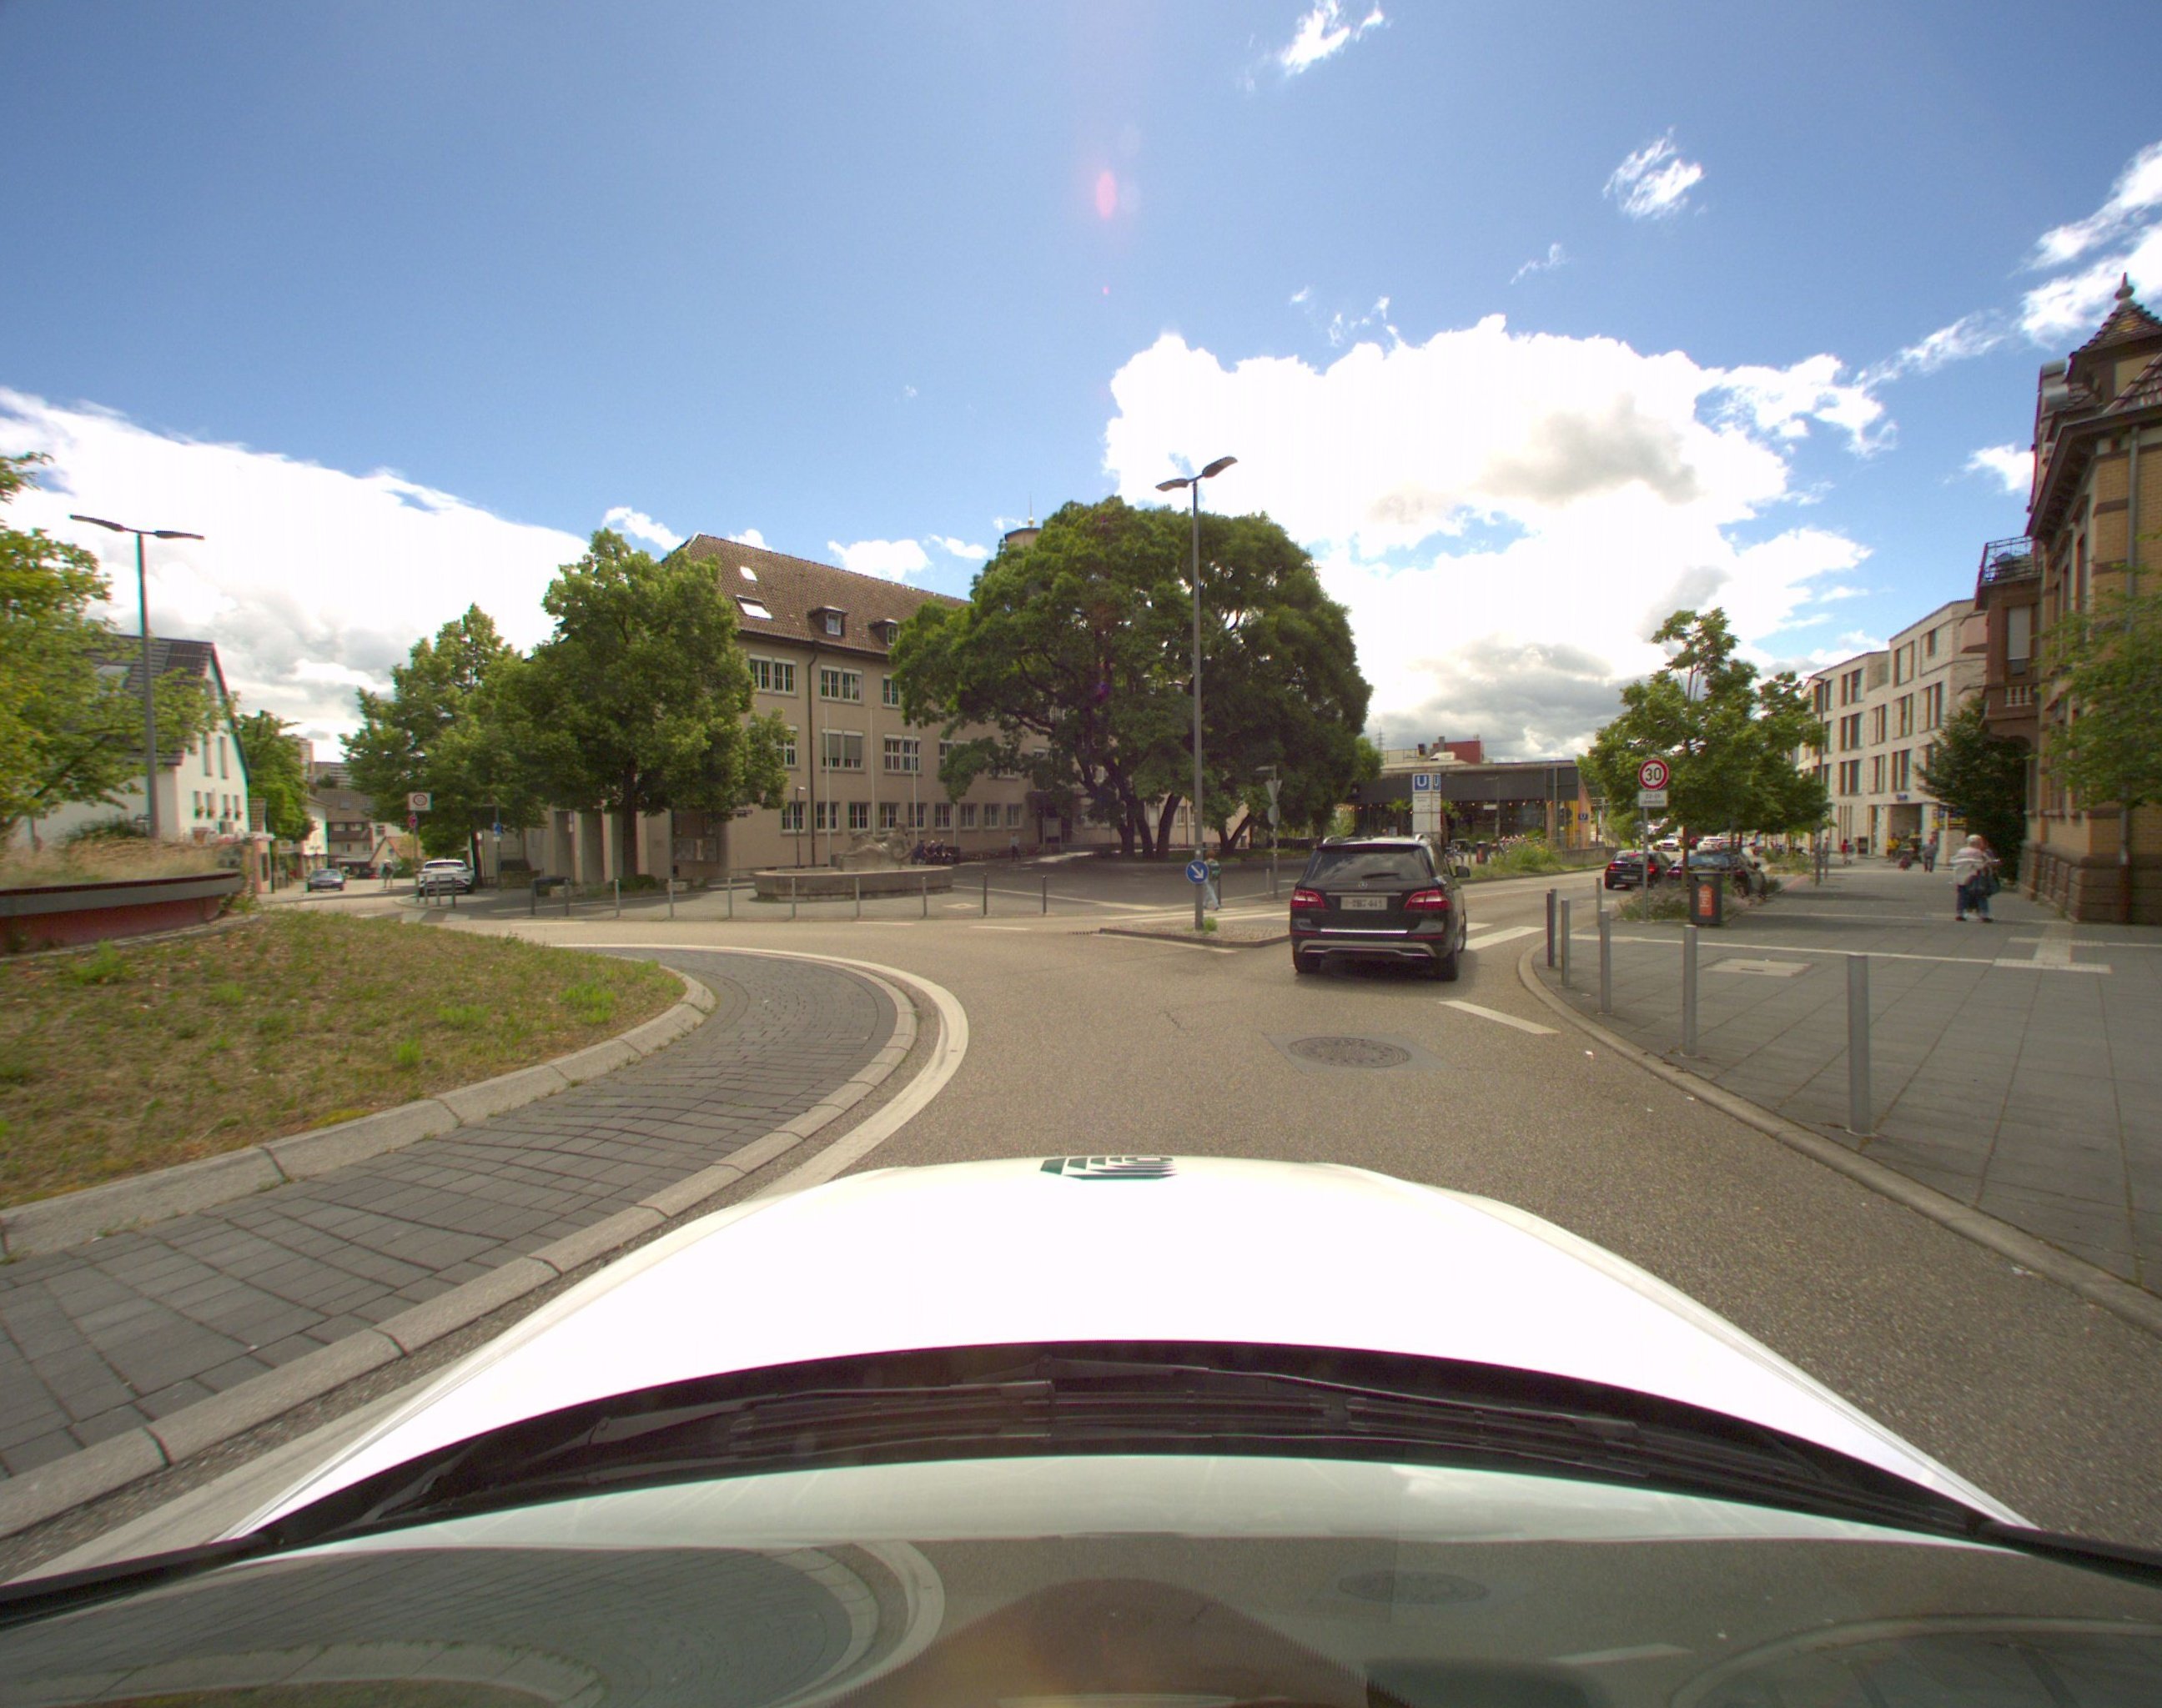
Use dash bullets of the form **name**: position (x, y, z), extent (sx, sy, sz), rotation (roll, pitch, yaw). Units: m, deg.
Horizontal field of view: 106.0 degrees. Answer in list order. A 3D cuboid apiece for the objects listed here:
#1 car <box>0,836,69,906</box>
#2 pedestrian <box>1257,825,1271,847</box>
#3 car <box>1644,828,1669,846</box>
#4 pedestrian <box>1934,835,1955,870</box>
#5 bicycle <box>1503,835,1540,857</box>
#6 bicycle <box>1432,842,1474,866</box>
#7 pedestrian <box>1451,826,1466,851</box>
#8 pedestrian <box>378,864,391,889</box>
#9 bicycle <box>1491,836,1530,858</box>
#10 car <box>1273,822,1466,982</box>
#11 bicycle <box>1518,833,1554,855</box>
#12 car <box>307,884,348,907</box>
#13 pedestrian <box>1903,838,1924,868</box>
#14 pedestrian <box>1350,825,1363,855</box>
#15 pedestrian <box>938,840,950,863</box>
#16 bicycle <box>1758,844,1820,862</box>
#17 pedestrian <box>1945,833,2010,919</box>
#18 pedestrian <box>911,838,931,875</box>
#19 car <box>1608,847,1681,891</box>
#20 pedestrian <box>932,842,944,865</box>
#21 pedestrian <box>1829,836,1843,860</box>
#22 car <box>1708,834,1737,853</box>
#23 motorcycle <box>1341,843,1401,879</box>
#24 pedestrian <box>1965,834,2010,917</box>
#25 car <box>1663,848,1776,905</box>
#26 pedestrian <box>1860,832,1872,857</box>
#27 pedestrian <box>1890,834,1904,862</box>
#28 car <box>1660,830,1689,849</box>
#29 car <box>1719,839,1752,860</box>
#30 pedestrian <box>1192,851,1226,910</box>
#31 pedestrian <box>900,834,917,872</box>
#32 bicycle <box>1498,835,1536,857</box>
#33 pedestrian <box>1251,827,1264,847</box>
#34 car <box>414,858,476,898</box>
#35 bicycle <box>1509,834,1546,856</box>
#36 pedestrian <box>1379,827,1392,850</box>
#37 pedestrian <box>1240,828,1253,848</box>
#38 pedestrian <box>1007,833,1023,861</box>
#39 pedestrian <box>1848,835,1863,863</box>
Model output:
- **car**: position (-41.882, 0.668, 29.533), extent (2.177, 2.560, 6.345), rotation (-4, -3, 36)
- **pedestrian**: position (13.825, -1.355, 61.519), extent (0.778, 1.627, 0.640), rotation (0, 1, 44)
- **car**: position (64.371, -1.912, 91.135), extent (1.823, 1.857, 4.526), rotation (3, 3, 31)
- **pedestrian**: position (41.124, -0.077, 38.799), extent (0.625, 1.626, 0.704), rotation (0, 1, 41)
- **bicycle**: position (22.178, -0.421, 40.990), extent (0.581, 1.091, 1.554), rotation (-1, 1, -44)
- **bicycle**: position (16.017, -0.021, 35.123), extent (0.502, 0.997, 1.598), rotation (-1, 1, -38)
- **pedestrian**: position (22.973, -0.943, 49.545), extent (0.619, 1.463, 0.576), rotation (-1, 0, -37)
- **pedestrian**: position (-44.817, 1.432, 52.409), extent (0.601, 1.549, 0.574), rotation (0, 0, -40)
- **bicycle**: position (21.041, -0.343, 39.913), extent (0.581, 1.091, 1.554), rotation (-1, 1, -44)
- **car**: position (4.158, 0.509, 11.224), extent (2.009, 1.727, 4.459), rotation (-1, 0, 26)
- **bicycle**: position (23.595, -0.509, 42.244), extent (0.581, 1.091, 1.554), rotation (-1, 1, -44)
- **car**: position (-48.651, 2.643, 52.566), extent (3.950, 1.266, 1.743), rotation (0, 1, 45)
- **pedestrian**: position (44.368, -0.067, 43.390), extent (0.704, 1.563, 0.572), rotation (0, 1, 39)
- **pedestrian**: position (14.983, -0.760, 44.337), extent (0.610, 1.577, 0.585), rotation (-1, 0, 12)
- **pedestrian**: position (-7.076, -0.127, 42.101), extent (0.484, 1.222, 0.581), rotation (0, 0, 2)
- **bicycle**: position (45.672, -0.079, 52.578), extent (3.030, 1.146, 0.714), rotation (0, 1, 41)
- **pedestrian**: position (17.492, 0.427, 15.906), extent (0.548, 1.629, 0.680), rotation (-1, -1, 17)
- **pedestrian**: position (-6.791, 0.116, 34.601), extent (0.640, 1.523, 0.572), rotation (0, 4, -30)
- **car**: position (20.156, 0.489, 29.056), extent (1.593, 1.383, 3.860), rotation (-1, 1, 43)
- **pedestrian**: position (-7.271, -0.023, 41.371), extent (0.484, 1.182, 0.581), rotation (0, 0, 2)
- **pedestrian**: position (53.299, -0.432, 57.517), extent (0.554, 1.682, 0.571), rotation (0, 1, 23)
- **car**: position (54.277, -0.912, 68.852), extent (1.823, 1.524, 4.025), rotation (3, 3, 39)
- **motorcycle**: position (11.152, 0.256, 31.372), extent (0.586, 1.289, 2.114), rotation (-4, 4, -42)
- **pedestrian**: position (18.106, 0.428, 16.276), extent (0.499, 1.629, 0.513), rotation (-1, -1, 41)
- **car**: position (17.726, 0.562, 22.537), extent (4.399, 1.406, 1.839), rotation (-1, 0, -44)
- **pedestrian**: position (53.083, -0.671, 55.058), extent (0.553, 1.682, 0.572), rotation (0, 1, 42)
- **pedestrian**: position (50.372, -0.357, 50.263), extent (0.553, 1.691, 0.643), rotation (0, 1, 42)
- **car**: position (54.796, -1.382, 75.243), extent (1.823, 1.607, 4.026), rotation (3, 3, 32)
- **car**: position (45.561, -0.336, 56.742), extent (1.593, 1.383, 3.861), rotation (-1, 1, 36)
- **pedestrian**: position (3.434, 0.691, 21.888), extent (0.553, 1.514, 0.781), rotation (-3, 3, -27)
- **pedestrian**: position (-7.447, -0.057, 35.139), extent (0.576, 1.608, 0.433), rotation (0, 4, -30)
- **bicycle**: position (21.630, -0.382, 40.418), extent (0.542, 1.069, 1.554), rotation (-1, 1, -44)
- **pedestrian**: position (13.721, -1.305, 63.315), extent (0.778, 1.577, 0.640), rotation (0, 1, 44)
- **car**: position (-27.072, 0.978, 34.765), extent (1.993, 1.530, 3.956), rotation (-1, 1, -37)
- **bicycle**: position (22.853, -0.445, 41.663), extent (0.581, 1.091, 1.554), rotation (-1, 1, -44)
- **pedestrian**: position (18.429, -0.919, 49.253), extent (0.575, 1.379, 0.620), rotation (-1, 0, 33)
- **pedestrian**: position (13.160, -1.288, 64.787), extent (0.793, 1.577, 0.629), rotation (-1, 1, -45)
- **pedestrian**: position (-3.541, -0.384, 43.638), extent (0.700, 1.492, 0.810), rotation (0, 0, -19)
- **pedestrian**: position (46.740, -0.318, 49.165), extent (0.656, 1.682, 0.571), rotation (0, 1, 44)
